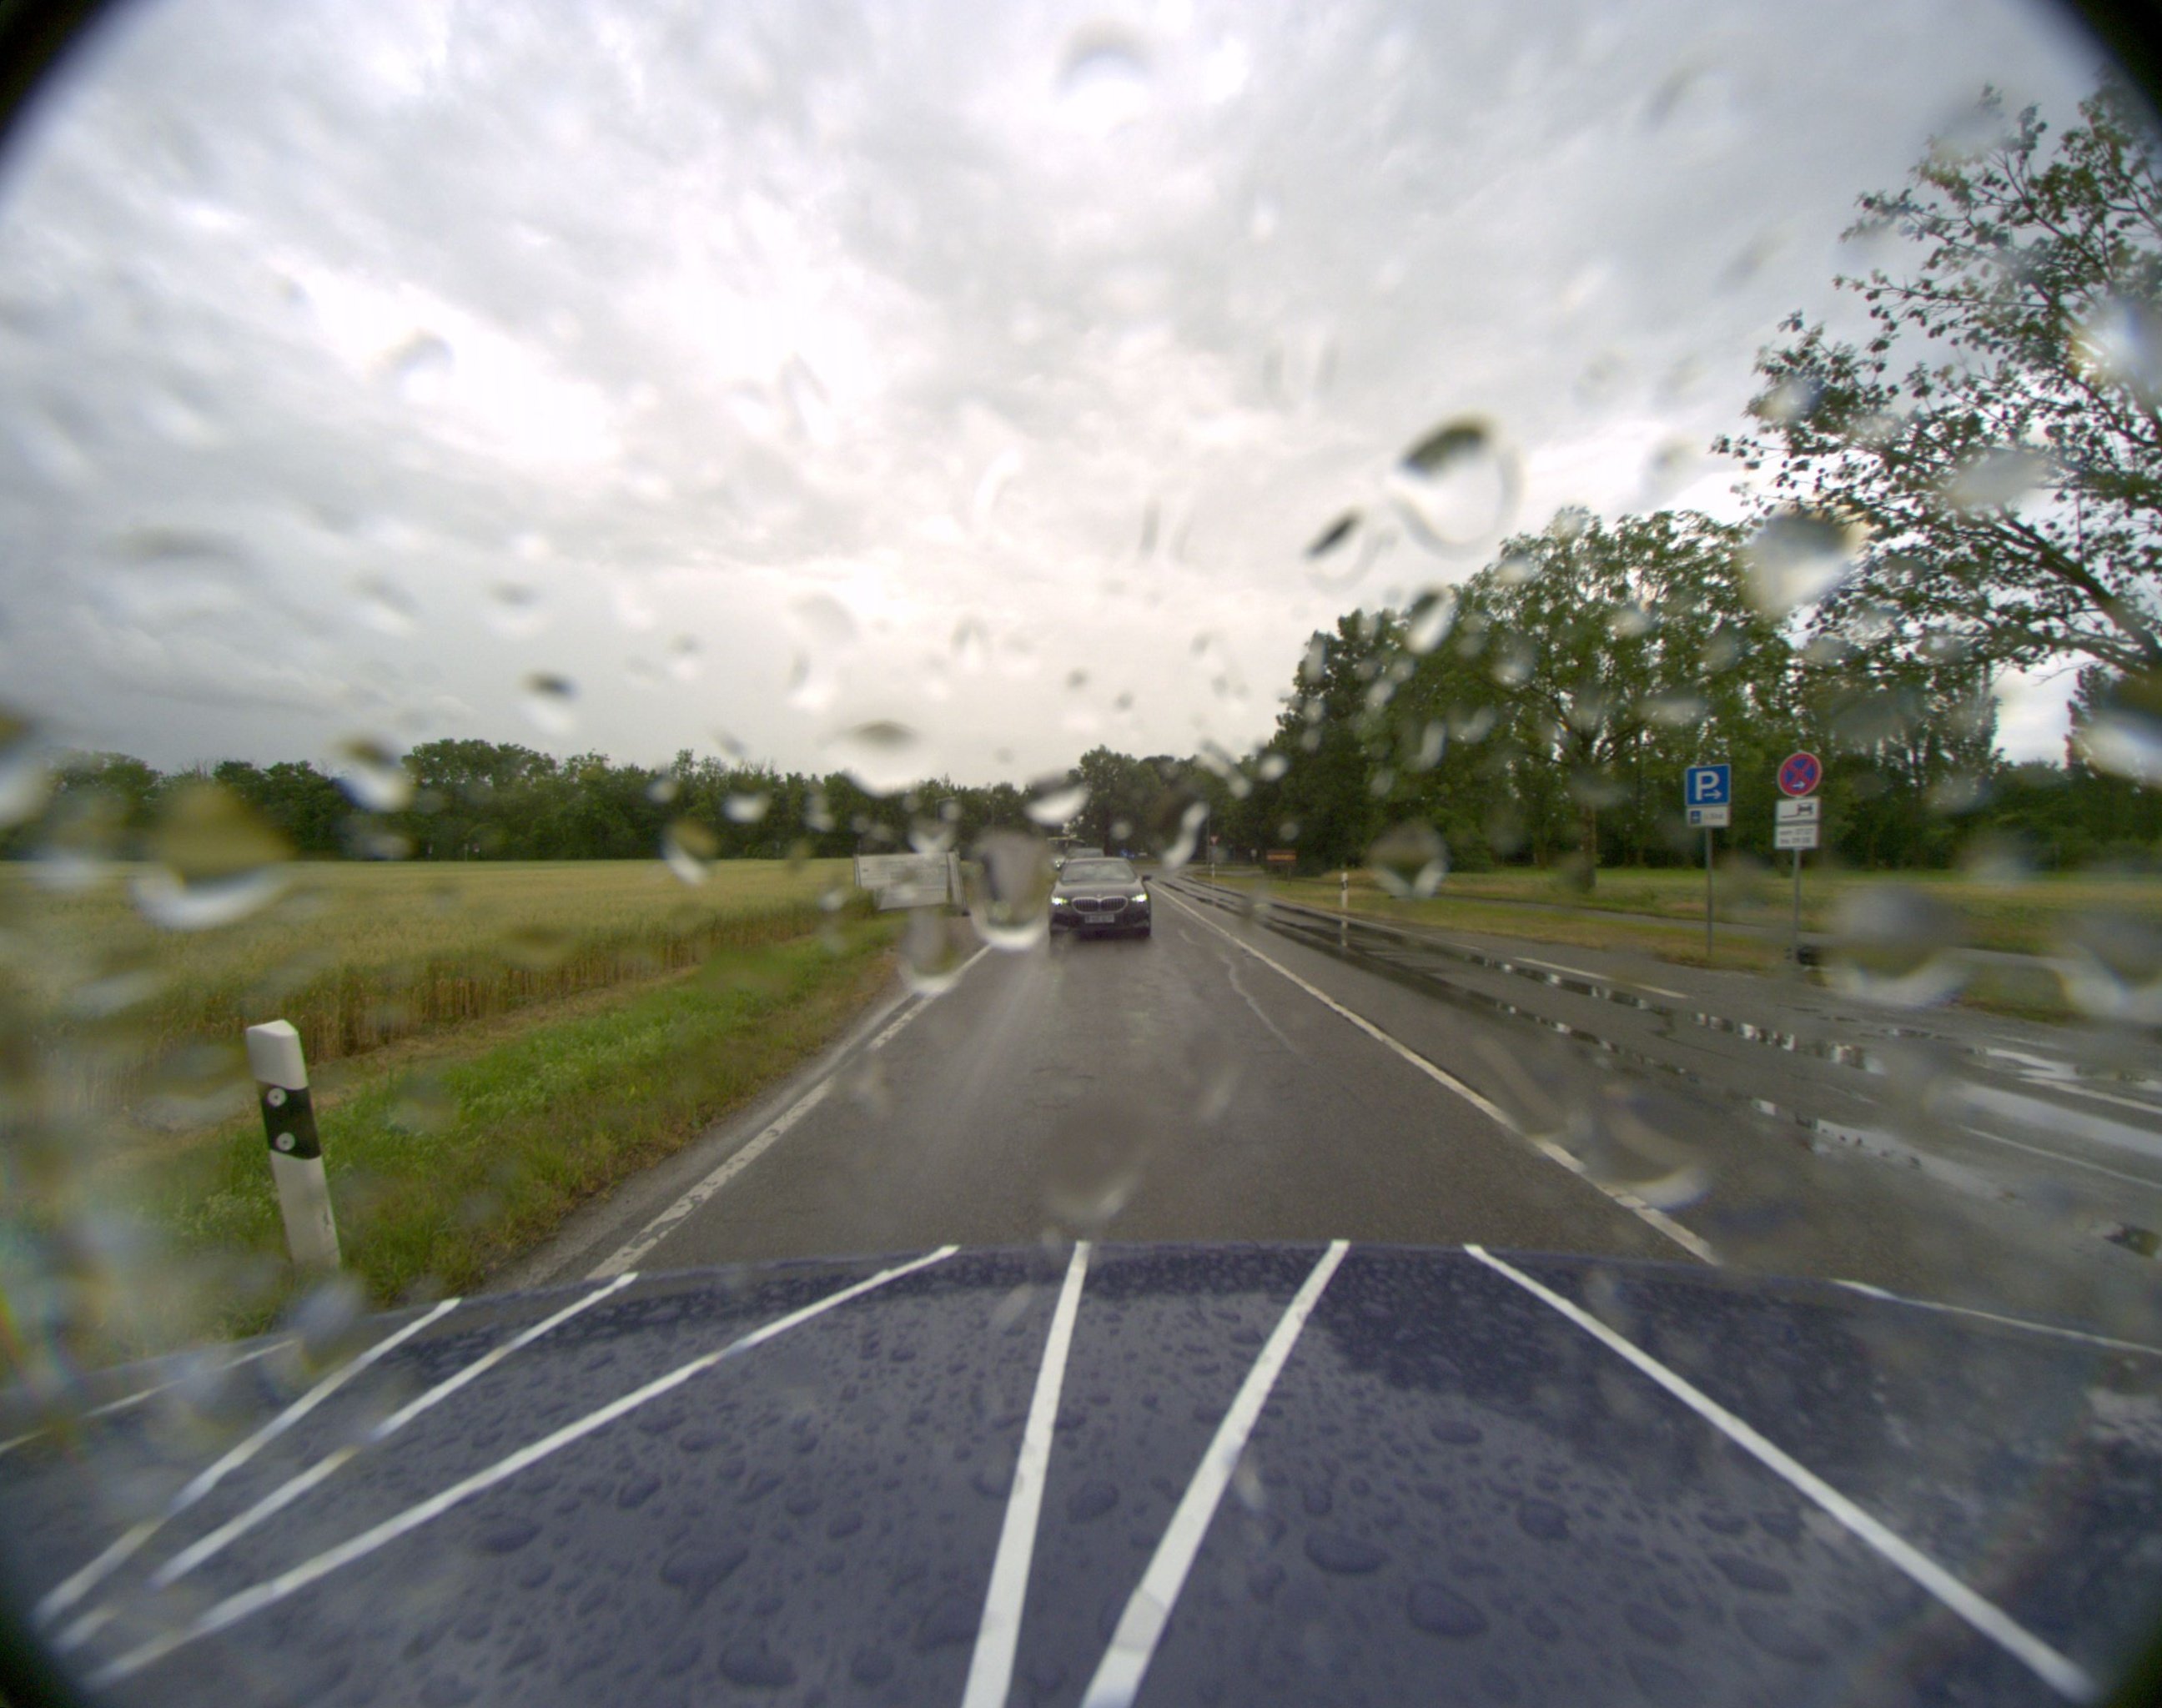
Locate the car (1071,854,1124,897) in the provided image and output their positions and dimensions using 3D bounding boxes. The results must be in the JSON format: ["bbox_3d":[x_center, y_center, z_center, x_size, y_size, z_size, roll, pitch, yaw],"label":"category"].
[{"bbox_3d":[0.613,0.815,30.287,1.892,1.482,4.191,-2,1,0],"label":"car"}]

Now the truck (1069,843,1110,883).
[{"bbox_3d":[0.412,0.462,43.605,2.076,2.050,5.767,-1,1,-1],"label":"truck"}]

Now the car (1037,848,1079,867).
[{"bbox_3d":[-2.036,0.313,66.007,1.896,1.522,4.492,-2,0,-28],"label":"car"}]

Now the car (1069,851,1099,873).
[{"bbox_3d":[0.200,0.585,58.148,1.892,1.522,5.253,-2,0,-4],"label":"car"}]

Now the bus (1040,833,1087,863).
[{"bbox_3d":[-2.075,-0.792,99.977,2.993,3.665,14.307,1,0,12],"label":"bus"}]

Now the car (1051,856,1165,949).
[{"bbox_3d":[0.467,0.830,14.824,1.892,1.484,4.035,-1,0,0],"label":"car"}]

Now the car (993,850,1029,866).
[{"bbox_3d":[-6.912,0.403,74.659,1.896,1.522,4.492,-2,0,-28],"label":"car"}]
